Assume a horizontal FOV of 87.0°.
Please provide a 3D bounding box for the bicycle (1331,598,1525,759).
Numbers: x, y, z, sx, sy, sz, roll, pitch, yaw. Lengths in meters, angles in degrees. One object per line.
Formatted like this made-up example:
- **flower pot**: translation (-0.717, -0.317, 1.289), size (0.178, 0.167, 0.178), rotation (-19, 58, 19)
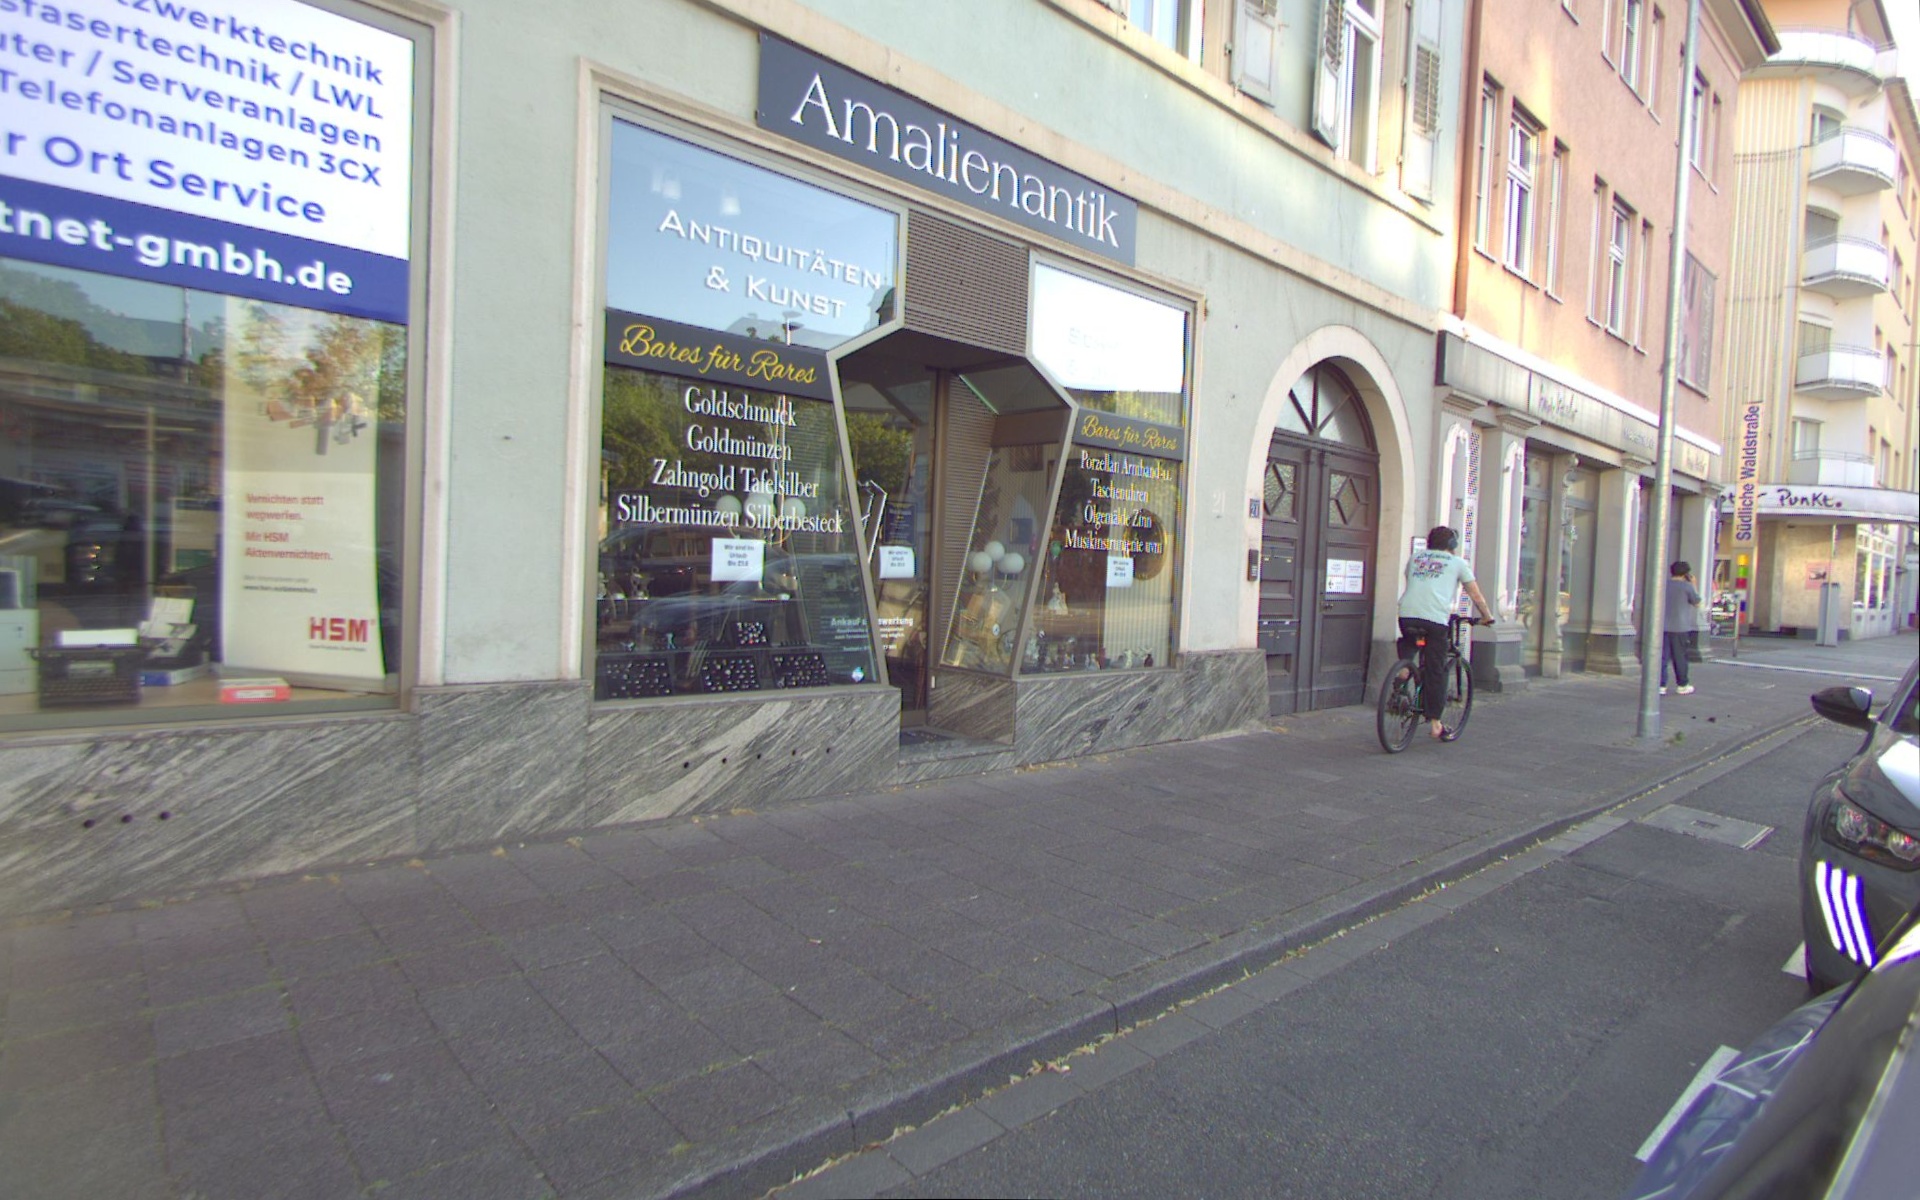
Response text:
- **bicycle**: translation (3.808, 0.567, 8.168), size (1.863, 1.121, 0.691), rotation (0, 2, -42)

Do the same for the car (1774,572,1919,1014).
- **car**: translation (5.211, 0.670, 4.419), size (4.374, 1.464, 1.906), rotation (0, 2, -42)

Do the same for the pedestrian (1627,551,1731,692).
- **pedestrian**: translation (8.941, 0.241, 12.586), size (0.857, 1.662, 0.824), rotation (0, 3, -43)

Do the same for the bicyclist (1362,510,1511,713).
- **bicyclist**: translation (3.836, 0.070, 8.148), size (0.884, 1.526, 0.723), rotation (1, 2, -40)
